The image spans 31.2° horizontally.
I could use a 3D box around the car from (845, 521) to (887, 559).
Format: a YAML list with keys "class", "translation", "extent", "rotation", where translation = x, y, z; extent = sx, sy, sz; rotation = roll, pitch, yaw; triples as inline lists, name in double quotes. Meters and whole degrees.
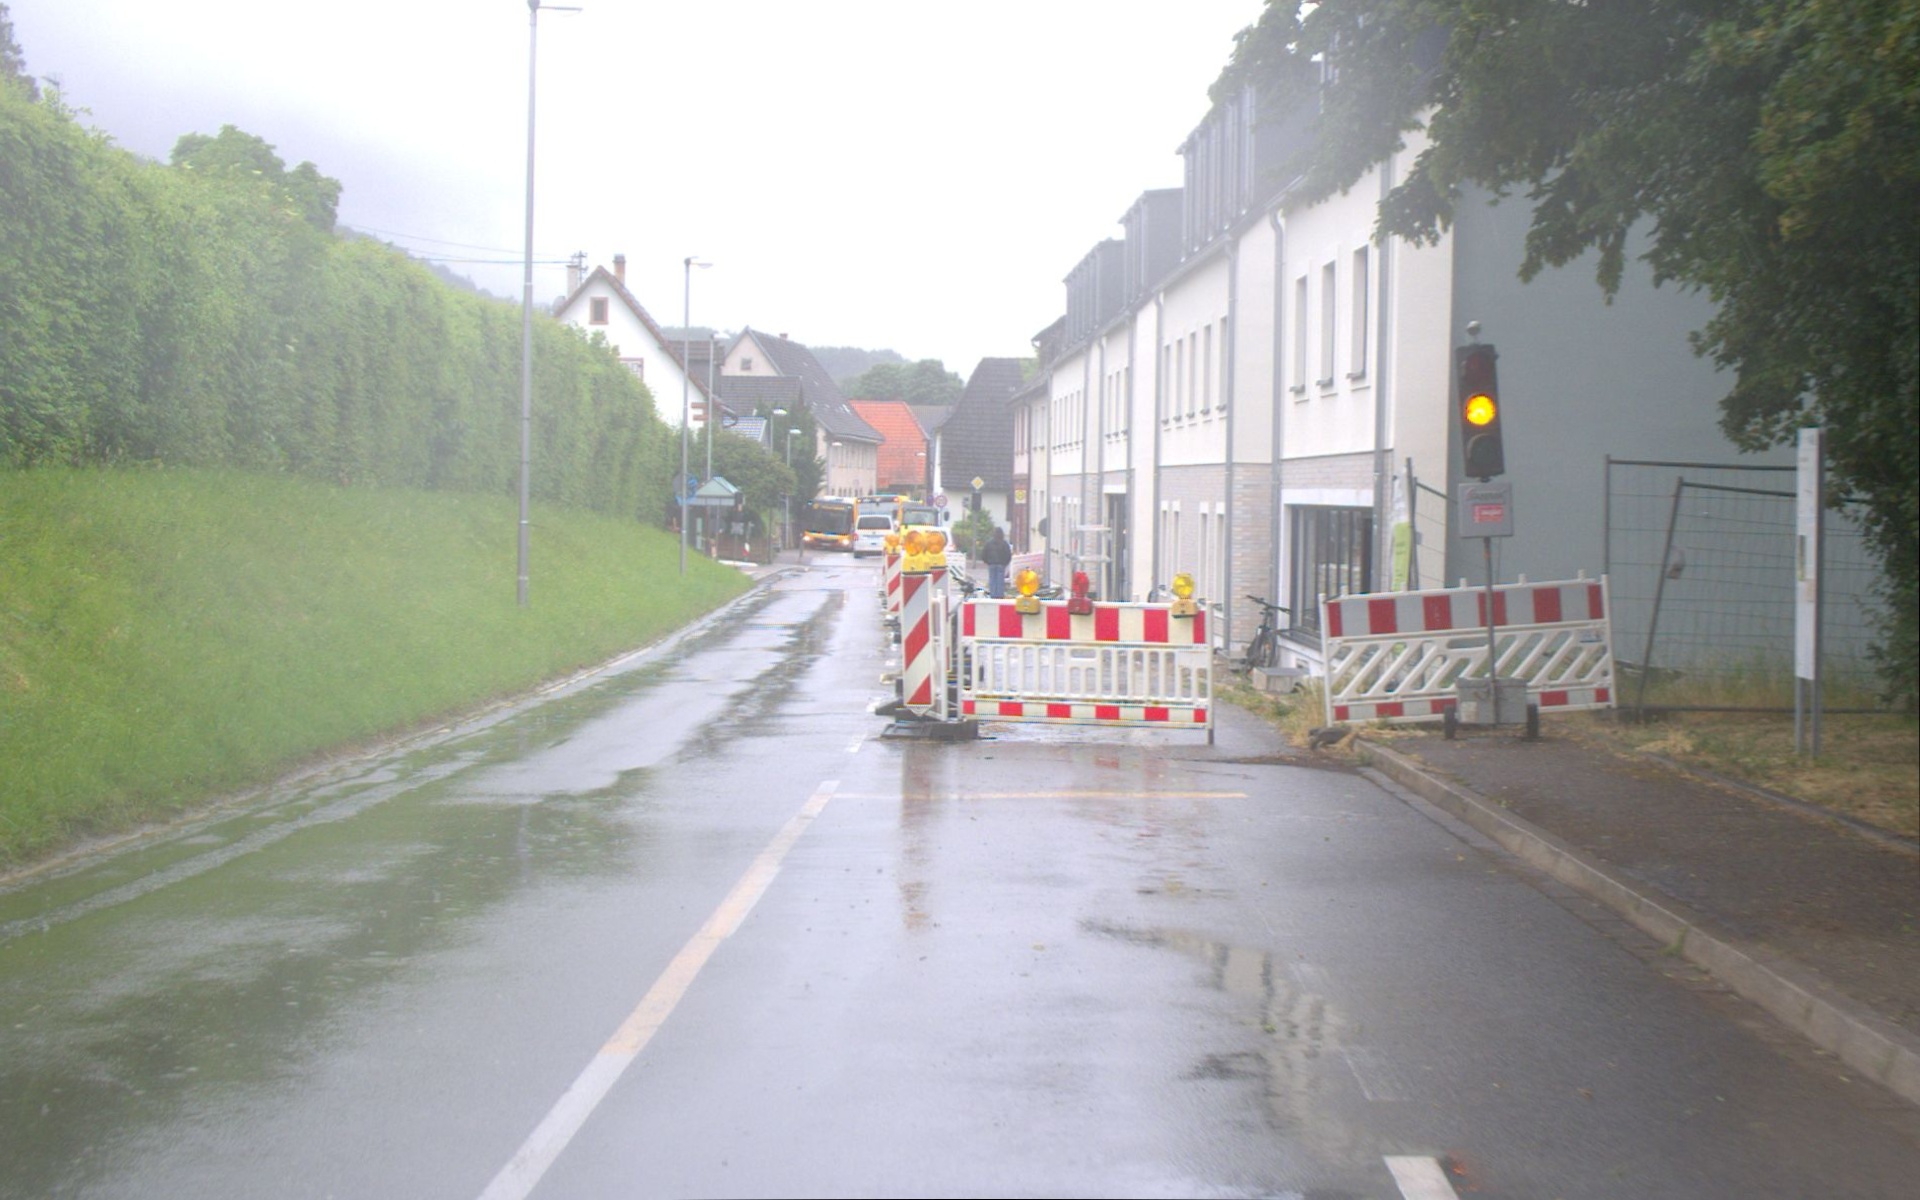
- class: "car"
  translation: [-4.227, -2.731, 155.536]
  extent: [1.818, 1.636, 4.096]
  rotation: [-2, 1, -1]

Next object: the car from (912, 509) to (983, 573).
- class: "car"
  translation: [-0.381, -1.728, 100.078]
  extent: [1.904, 1.766, 3.887]
  rotation: [-2, 1, -2]

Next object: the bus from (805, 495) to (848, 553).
- class: "bus"
  translation: [-7.371, -4.191, 190.727]
  extent: [2.241, 3.092, 7.031]
  rotation: [-2, 1, -2]

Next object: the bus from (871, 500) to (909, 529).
- class: "bus"
  translation: [-3.596, -4.424, 177.676]
  extent: [1.794, 1.405, 4.000]
  rotation: [2, 1, 1]

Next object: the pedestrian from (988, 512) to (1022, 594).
- class: "pedestrian"
  translation: [0.974, -1.023, 74.736]
  extent: [0.665, 1.749, 0.812]
  rotation: [1, 1, -1]
